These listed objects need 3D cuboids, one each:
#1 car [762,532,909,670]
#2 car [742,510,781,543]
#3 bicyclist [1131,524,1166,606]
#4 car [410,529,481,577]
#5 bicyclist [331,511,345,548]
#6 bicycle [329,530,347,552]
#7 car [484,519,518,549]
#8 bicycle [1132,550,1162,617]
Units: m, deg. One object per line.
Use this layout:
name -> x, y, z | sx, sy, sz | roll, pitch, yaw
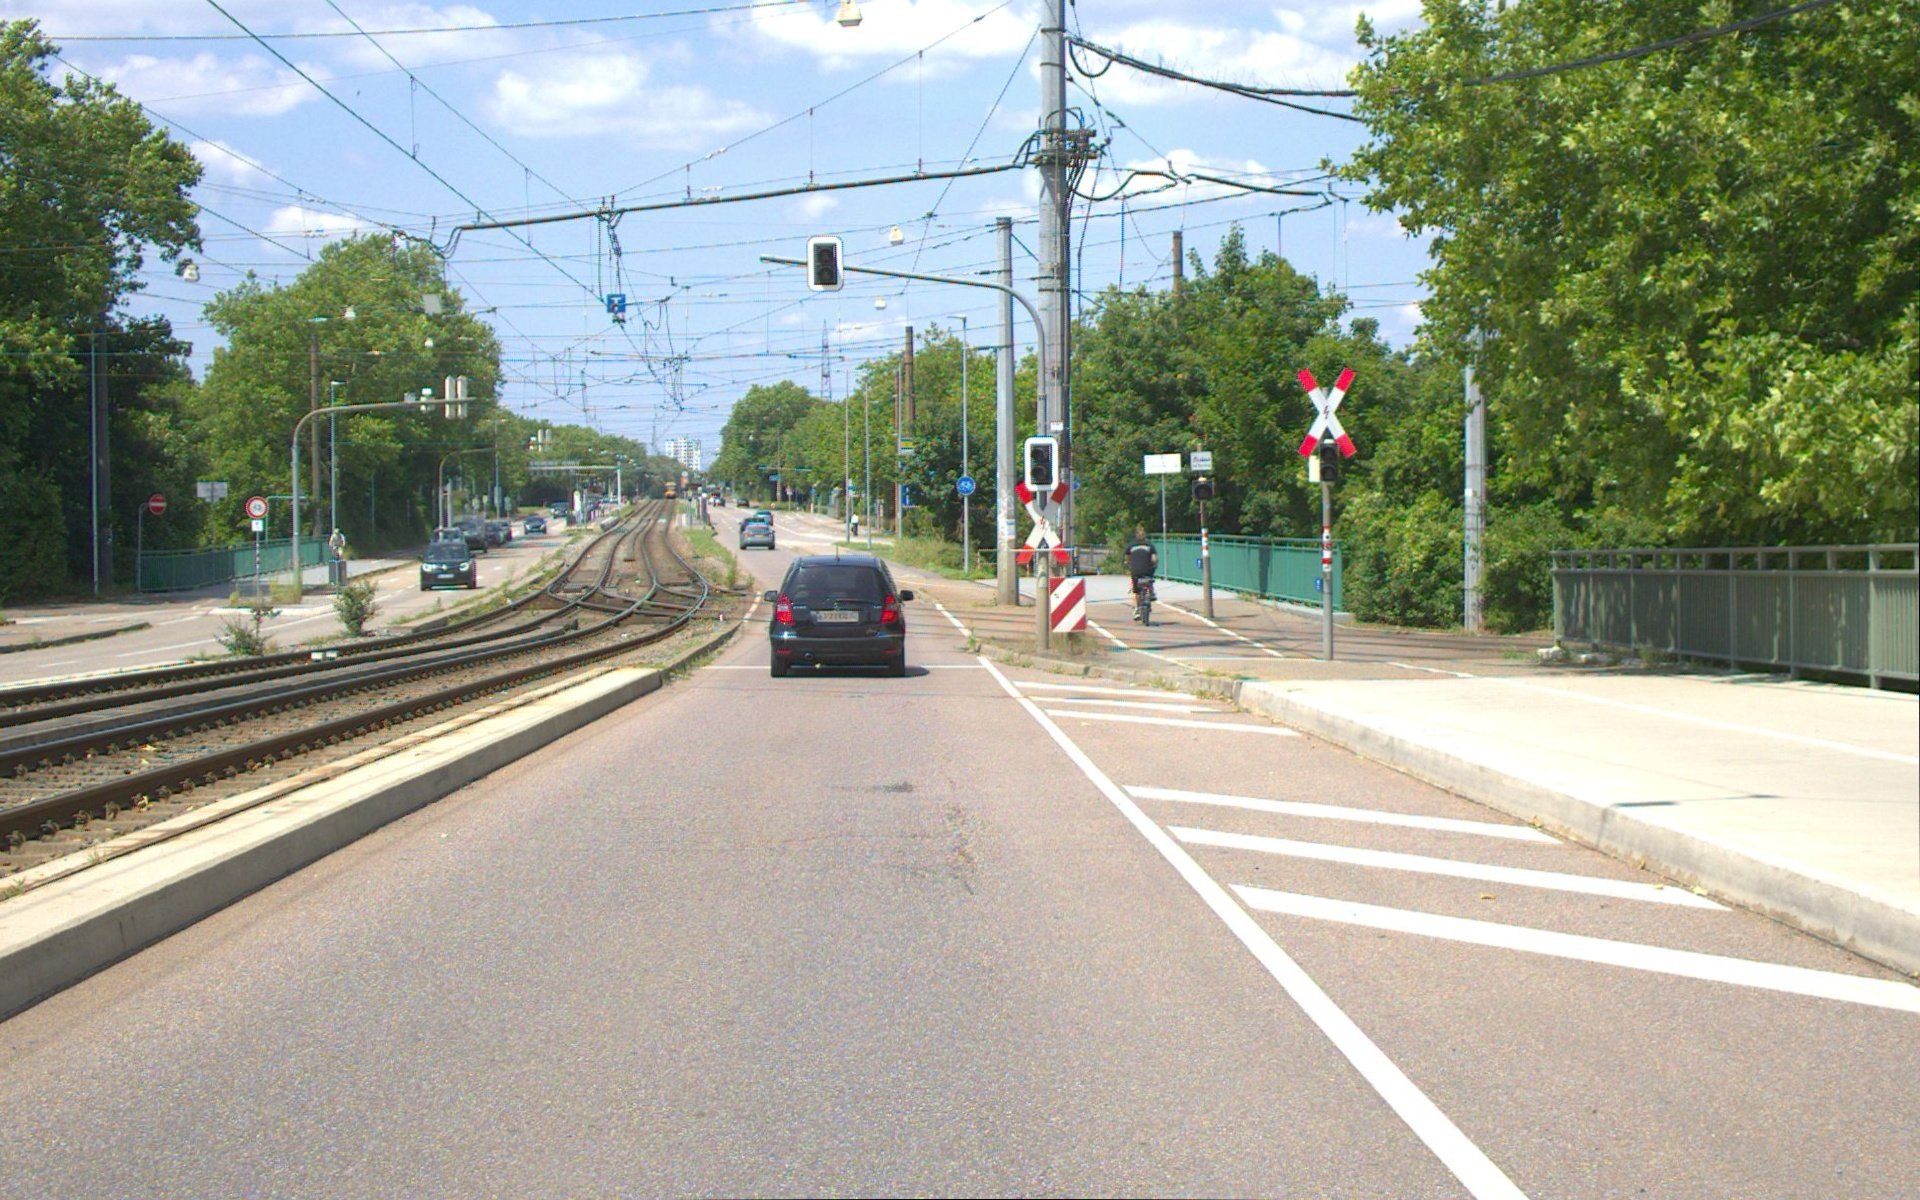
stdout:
car -> -1.627, -0.029, 45.926 | 1.853, 1.564, 4.389 | 1, 3, -1
car -> -10.933, -4.066, 189.560 | 1.884, 1.634, 4.001 | 3, 2, -1
bicyclist -> 3.447, -0.644, 62.997 | 0.585, 1.489, 0.558 | 1, 3, 0
car -> -16.640, -1.533, 111.270 | 1.705, 1.505, 3.733 | -2, 1, 0
bicyclist -> -24.824, -2.801, 137.289 | 0.456, 1.469, 0.633 | 0, 1, -2
bicycle -> -24.814, -2.344, 137.188 | 0.469, 0.865, 1.743 | 0, 1, -2
car -> -30.946, -4.462, 231.946 | 1.993, 2.007, 4.001 | -1, 1, -4
bicycle -> 3.435, -0.316, 63.213 | 0.432, 1.148, 1.855 | 1, 3, 0
